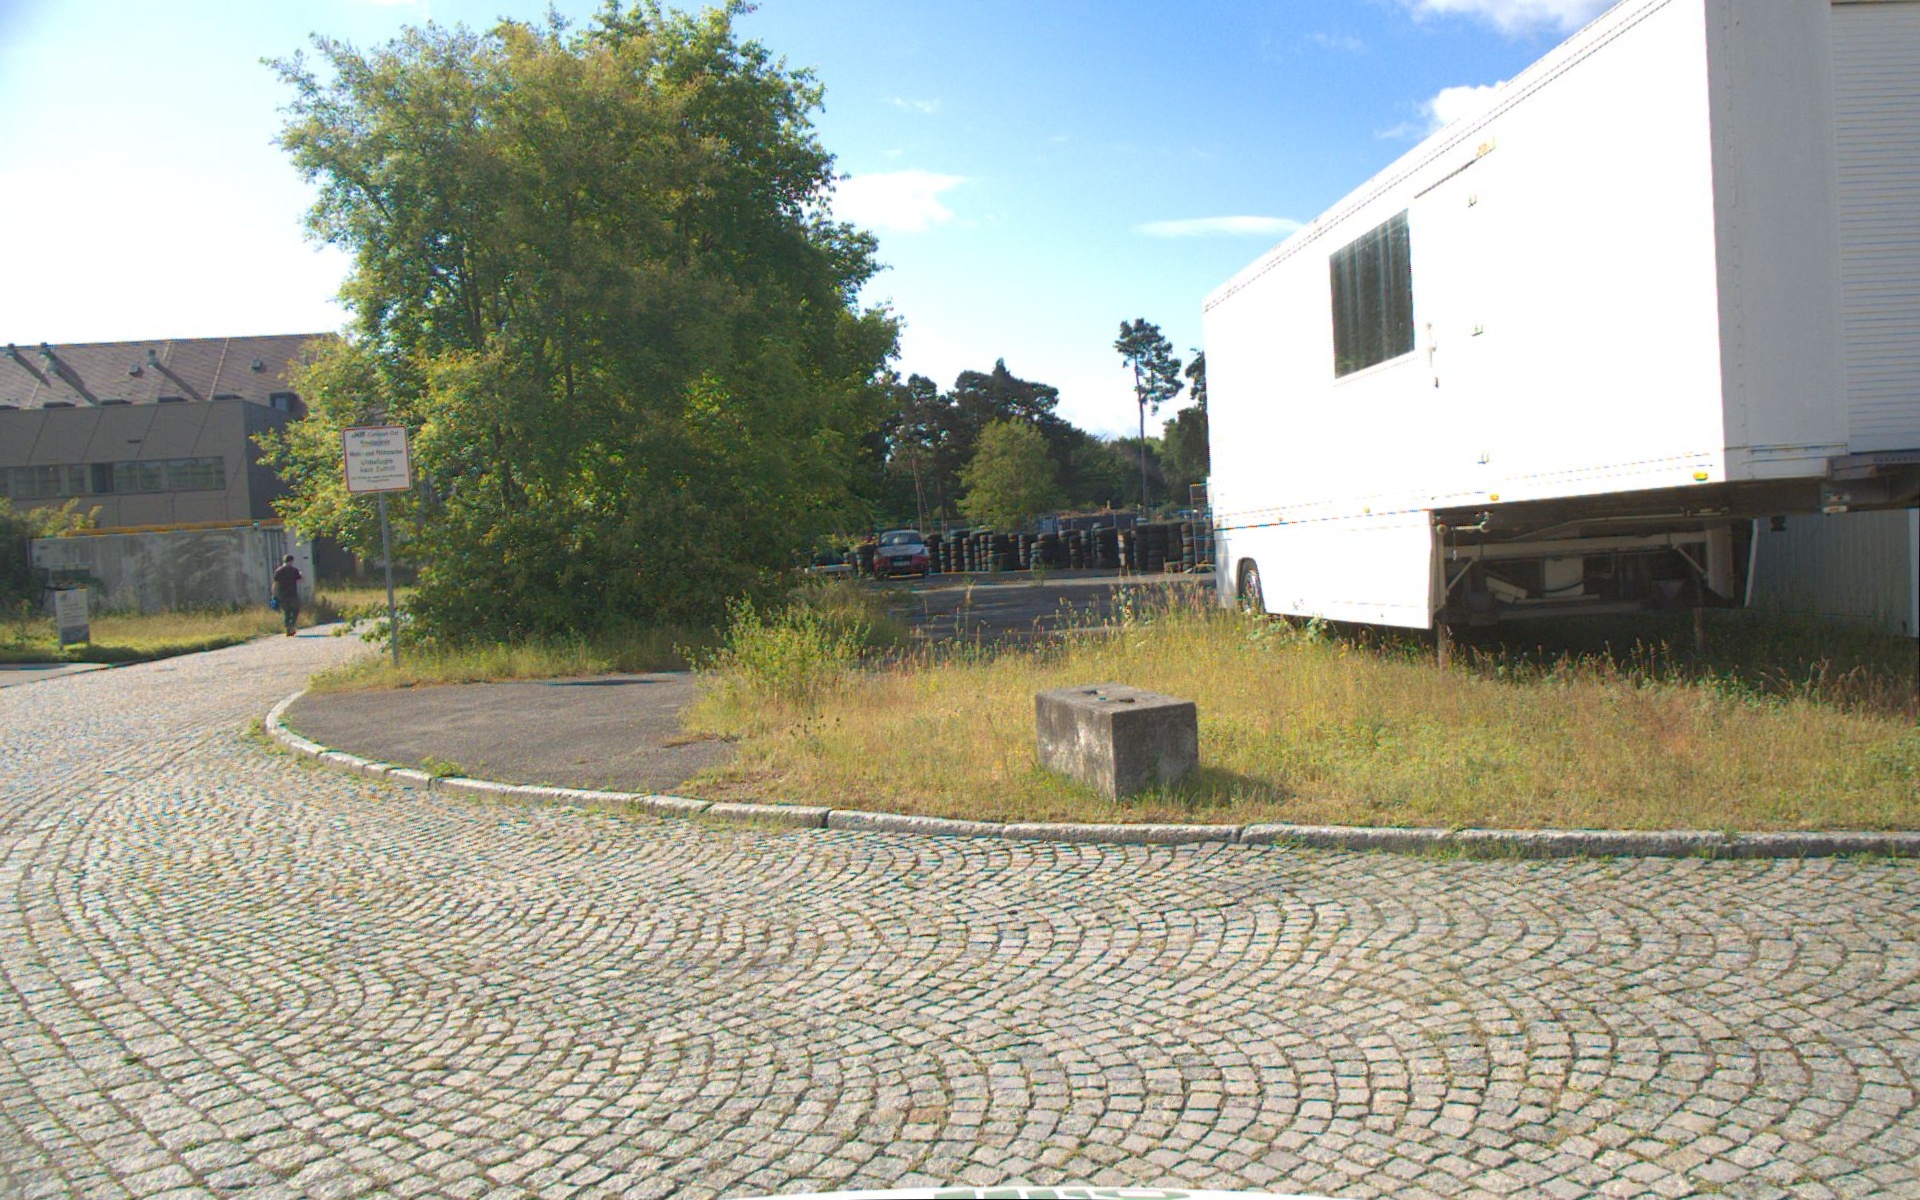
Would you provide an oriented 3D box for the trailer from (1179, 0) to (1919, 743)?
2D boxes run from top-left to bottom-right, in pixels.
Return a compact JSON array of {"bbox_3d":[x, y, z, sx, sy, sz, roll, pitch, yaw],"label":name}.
[{"bbox_3d":[4.297,-1.654,12.665,2.719,3.977,10.877,-3,2,-5],"label":"trailer"}]

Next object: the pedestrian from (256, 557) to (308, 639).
[{"bbox_3d":[-15.433,-0.056,37.669,0.780,1.811,1.066,-2,2,-9],"label":"pedestrian"}]

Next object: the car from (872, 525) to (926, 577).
[{"bbox_3d":[-1.829,-1.510,50.406,1.510,1.431,3.577,-3,2,-1],"label":"car"}]
